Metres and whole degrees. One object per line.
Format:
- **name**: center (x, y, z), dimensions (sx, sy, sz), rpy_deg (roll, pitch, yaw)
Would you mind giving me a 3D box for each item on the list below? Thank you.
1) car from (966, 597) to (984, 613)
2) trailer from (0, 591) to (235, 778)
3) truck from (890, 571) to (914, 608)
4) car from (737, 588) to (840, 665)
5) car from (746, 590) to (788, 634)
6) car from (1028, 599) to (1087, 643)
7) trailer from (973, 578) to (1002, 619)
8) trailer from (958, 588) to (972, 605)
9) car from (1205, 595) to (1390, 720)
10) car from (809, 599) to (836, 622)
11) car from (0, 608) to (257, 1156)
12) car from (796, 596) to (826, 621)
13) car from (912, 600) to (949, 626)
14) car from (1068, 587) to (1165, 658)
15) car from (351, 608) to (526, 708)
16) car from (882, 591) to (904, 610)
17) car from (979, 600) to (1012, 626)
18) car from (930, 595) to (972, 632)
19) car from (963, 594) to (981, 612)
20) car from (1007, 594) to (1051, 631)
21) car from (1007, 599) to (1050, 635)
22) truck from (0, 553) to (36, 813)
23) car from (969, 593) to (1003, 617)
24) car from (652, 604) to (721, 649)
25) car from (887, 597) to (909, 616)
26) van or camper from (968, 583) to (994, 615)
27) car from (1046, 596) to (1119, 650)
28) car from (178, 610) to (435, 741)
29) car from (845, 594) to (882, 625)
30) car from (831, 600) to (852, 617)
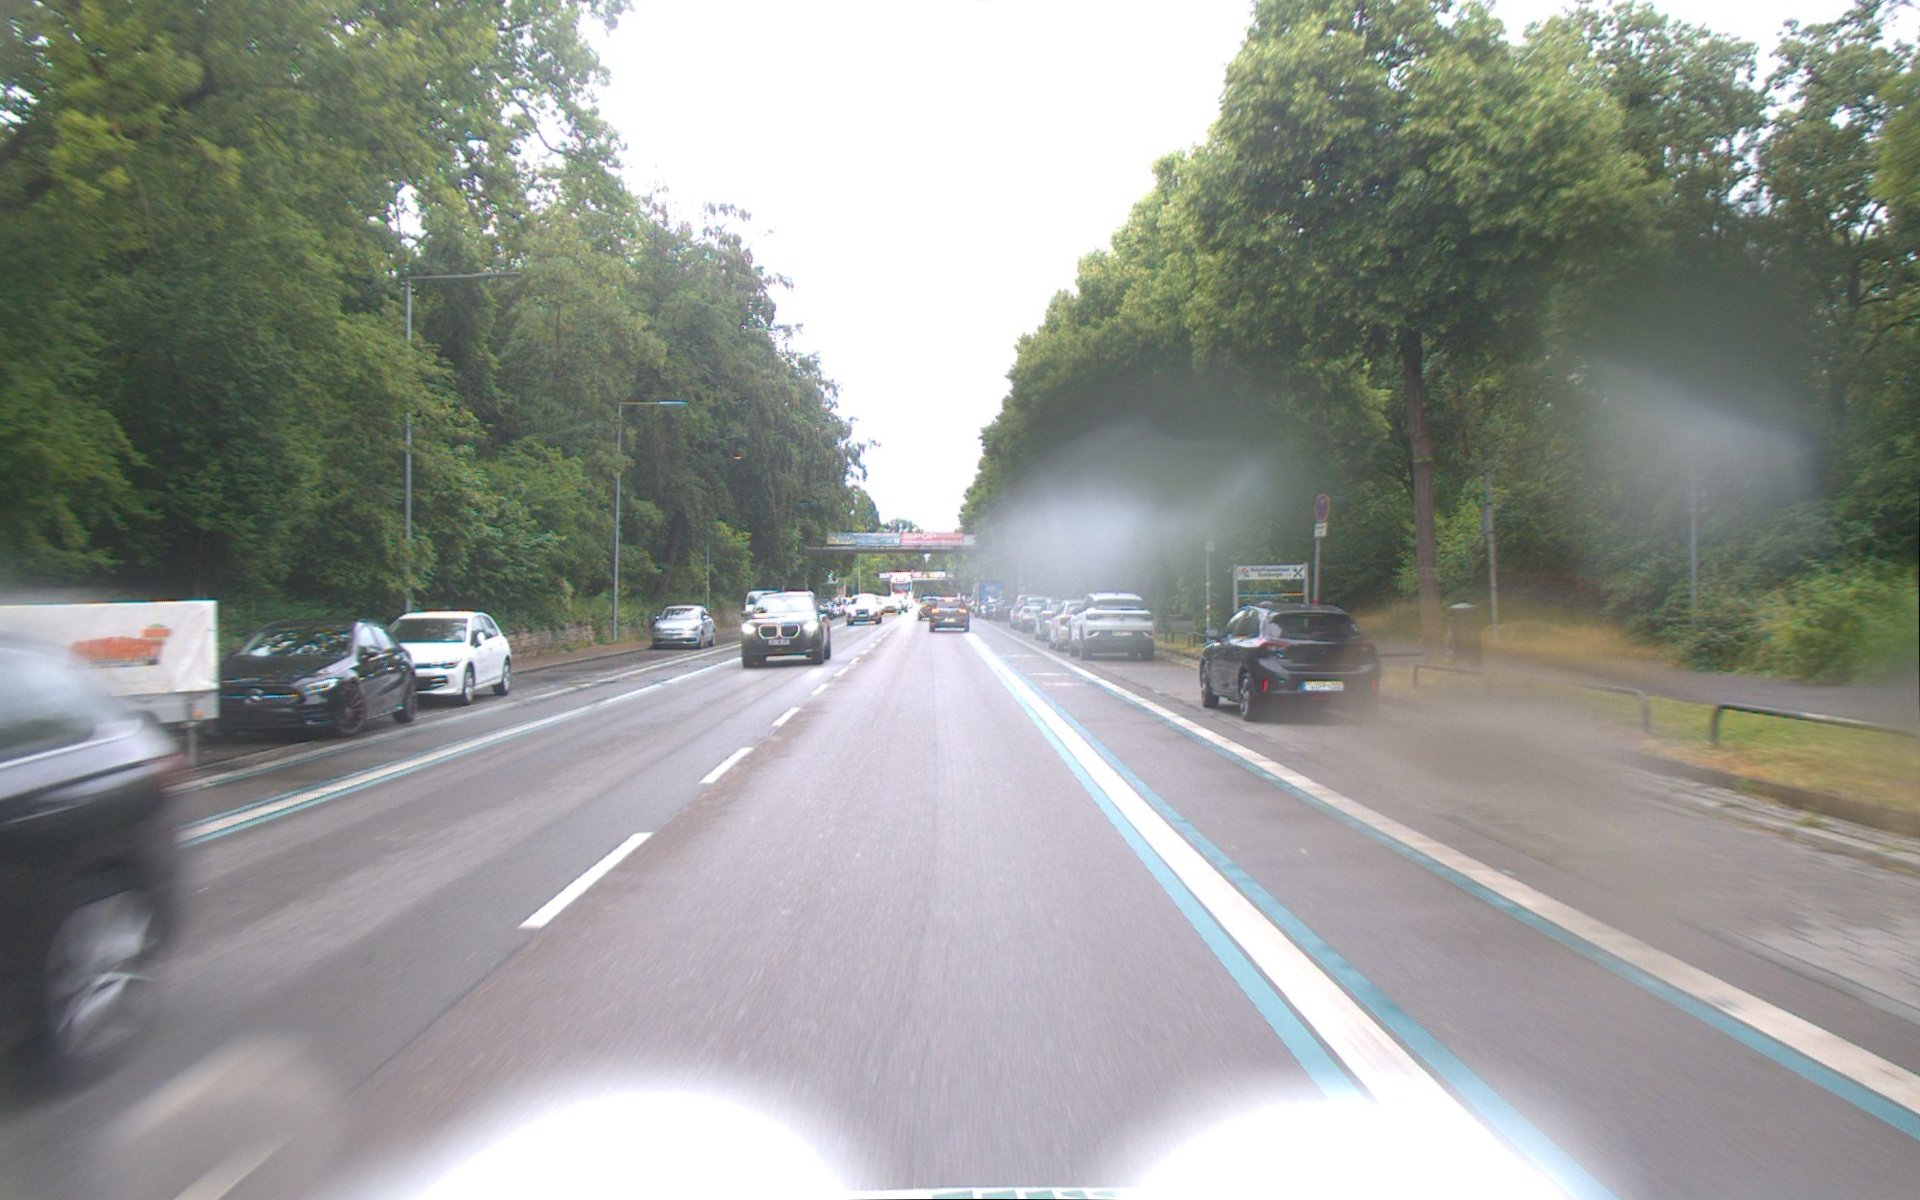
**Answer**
- **car**: center (1.527, 0.521, 168.252), dimensions (1.720, 1.617, 4.497), rpy_deg (1, 0, -1)
- **trailer**: center (-8.556, 0.763, 16.268), dimensions (1.325, 1.686, 2.257), rpy_deg (-1, 0, 37)
- **truck**: center (-6.749, -1.168, 191.148), dimensions (2.468, 4.117, 4.913), rpy_deg (-3, 0, -3)
- **car**: center (-3.989, 0.574, 39.146), dimensions (1.996, 1.678, 4.476), rpy_deg (-1, 0, -1)
- **car**: center (-9.419, 0.550, 81.024), dimensions (1.935, 2.040, 5.013), rpy_deg (0, 0, -5)
- **car**: center (3.423, 0.706, 58.466), dimensions (1.664, 1.479, 4.095), rpy_deg (1, 0, -3)
- **trailer**: center (1.924, -0.107, 116.160), dimensions (1.913, 2.807, 4.006), rpy_deg (0, 0, -1)
- **trailer**: center (0.639, -0.470, 230.017), dimensions (1.845, 2.204, 3.807), rpy_deg (-1, 0, -1)
- **car**: center (4.397, 0.695, 22.103), dimensions (1.660, 1.502, 3.998), rpy_deg (0, 0, 0)
- **car**: center (-9.738, 0.742, 117.080), dimensions (1.795, 1.502, 4.037), rpy_deg (-1, 1, -4)
- **car**: center (-3.481, 0.801, 3.973), dimensions (1.729, 1.483, 4.494), rpy_deg (-2, 0, -2)
- **car**: center (-9.597, 0.541, 106.628), dimensions (1.753, 1.508, 3.980), rpy_deg (-1, 1, -3)
- **car**: center (-1.861, 0.785, 103.235), dimensions (2.097, 1.518, 4.496), rpy_deg (1, 0, -3)
- **car**: center (3.912, 0.524, 42.067), dimensions (1.953, 1.691, 4.562), rpy_deg (-1, 0, -1)
- **car**: center (-8.694, 0.912, 27.945), dimensions (1.719, 1.460, 4.354), rpy_deg (-1, 1, -3)
- **car**: center (-5.600, 0.070, 137.622), dimensions (1.740, 1.491, 4.061), rpy_deg (-2, 0, -2)
- **car**: center (2.178, 0.777, 101.488), dimensions (1.788, 1.529, 4.569), rpy_deg (1, 0, -2)
- **car**: center (-0.386, 0.562, 72.003), dimensions (1.781, 1.534, 4.139), rpy_deg (1, 0, 0)
- **car**: center (1.385, 0.341, 186.672), dimensions (1.887, 2.057, 4.662), rpy_deg (1, 0, -1)
- **car**: center (2.966, 0.535, 71.893), dimensions (1.663, 1.540, 4.468), rpy_deg (1, 0, -1)
- **car**: center (3.191, 0.772, 78.046), dimensions (1.718, 1.625, 4.738), rpy_deg (1, 0, -2)
- **truck**: center (-8.503, 0.668, 10.976), dimensions (2.051, 2.049, 5.156), rpy_deg (0, 0, -3)
- **car**: center (1.698, 0.309, 110.345), dimensions (1.862, 1.574, 4.752), rpy_deg (1, 0, -4)
- **car**: center (-9.229, 0.874, 56.015), dimensions (1.655, 1.429, 4.027), rpy_deg (0, 0, 0)
- **car**: center (-5.648, 0.578, 151.904), dimensions (1.921, 1.645, 4.464), rpy_deg (-1, 0, -1)
- **van or camper**: center (1.853, -0.087, 147.152), dimensions (2.001, 2.777, 6.898), rpy_deg (1, 0, -2)
- **car**: center (3.528, 0.649, 48.263), dimensions (1.664, 1.479, 3.944), rpy_deg (1, 0, -3)
- **car**: center (-8.218, 0.882, 21.248), dimensions (1.785, 1.423, 4.442), rpy_deg (0, 0, -4)
- **car**: center (-5.369, 0.504, 92.684), dimensions (1.914, 1.667, 4.443), rpy_deg (-1, 1, -2)
- **car**: center (-10.689, 0.799, 149.665), dimensions (1.748, 1.448, 4.294), rpy_deg (-1, 1, -2)
